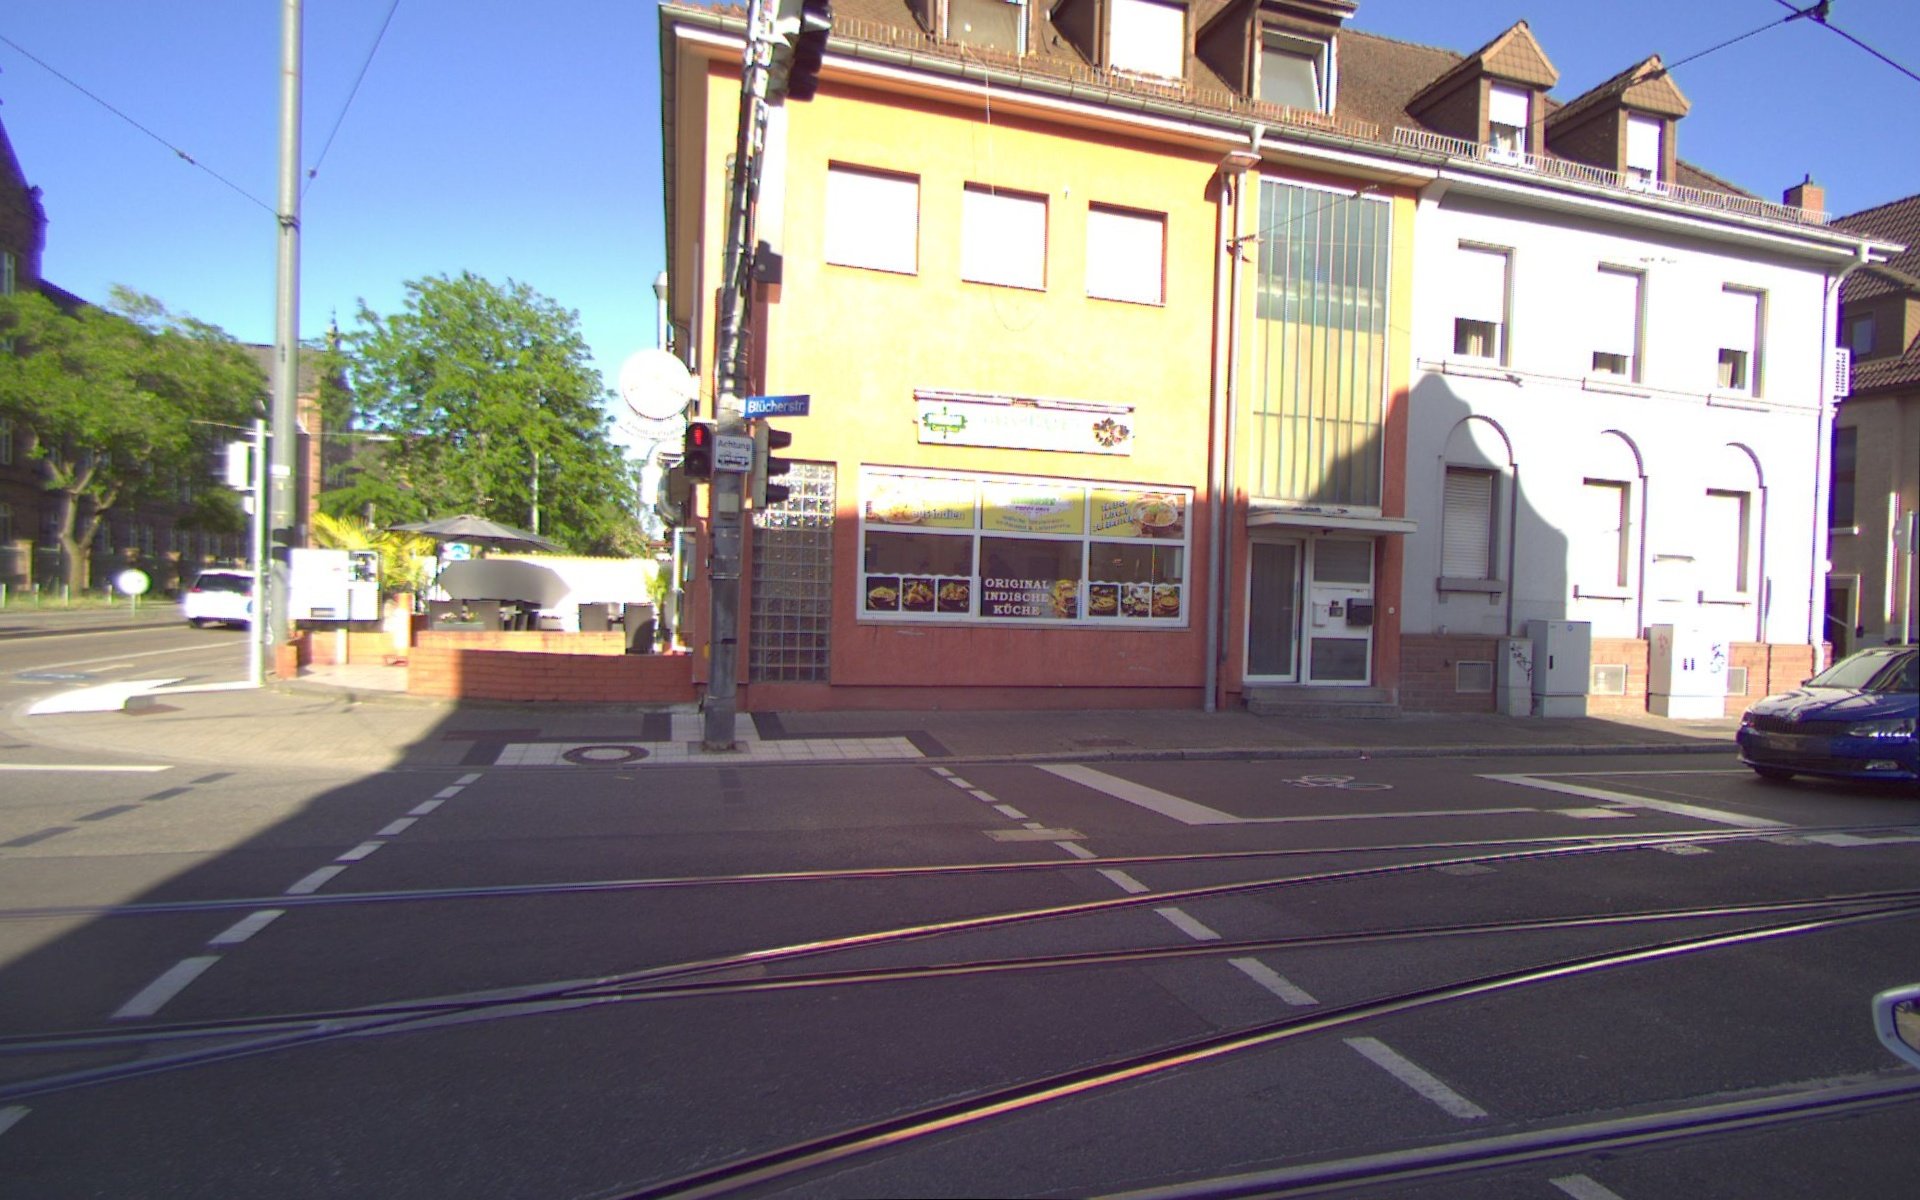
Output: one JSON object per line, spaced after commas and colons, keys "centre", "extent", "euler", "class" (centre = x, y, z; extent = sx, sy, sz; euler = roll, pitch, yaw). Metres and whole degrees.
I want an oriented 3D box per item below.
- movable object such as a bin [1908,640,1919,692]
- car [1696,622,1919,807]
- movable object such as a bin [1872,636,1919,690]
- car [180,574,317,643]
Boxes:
{"centre": [21.203, 1.460, 21.857], "extent": [0.581, 1.126, 0.569], "euler": [2, 3, -17], "class": "movable object such as a bin"}
{"centre": [9.597, 1.063, 9.937], "extent": [3.862, 1.588, 1.685], "euler": [2, -2, -15], "class": "car"}
{"centre": [21.032, 1.411, 22.511], "extent": [0.581, 1.126, 0.615], "euler": [2, 3, -17], "class": "movable object such as a bin"}
{"centre": [-20.120, 0.190, 28.615], "extent": [1.939, 1.687, 4.231], "euler": [5, 0, -19], "class": "car"}
